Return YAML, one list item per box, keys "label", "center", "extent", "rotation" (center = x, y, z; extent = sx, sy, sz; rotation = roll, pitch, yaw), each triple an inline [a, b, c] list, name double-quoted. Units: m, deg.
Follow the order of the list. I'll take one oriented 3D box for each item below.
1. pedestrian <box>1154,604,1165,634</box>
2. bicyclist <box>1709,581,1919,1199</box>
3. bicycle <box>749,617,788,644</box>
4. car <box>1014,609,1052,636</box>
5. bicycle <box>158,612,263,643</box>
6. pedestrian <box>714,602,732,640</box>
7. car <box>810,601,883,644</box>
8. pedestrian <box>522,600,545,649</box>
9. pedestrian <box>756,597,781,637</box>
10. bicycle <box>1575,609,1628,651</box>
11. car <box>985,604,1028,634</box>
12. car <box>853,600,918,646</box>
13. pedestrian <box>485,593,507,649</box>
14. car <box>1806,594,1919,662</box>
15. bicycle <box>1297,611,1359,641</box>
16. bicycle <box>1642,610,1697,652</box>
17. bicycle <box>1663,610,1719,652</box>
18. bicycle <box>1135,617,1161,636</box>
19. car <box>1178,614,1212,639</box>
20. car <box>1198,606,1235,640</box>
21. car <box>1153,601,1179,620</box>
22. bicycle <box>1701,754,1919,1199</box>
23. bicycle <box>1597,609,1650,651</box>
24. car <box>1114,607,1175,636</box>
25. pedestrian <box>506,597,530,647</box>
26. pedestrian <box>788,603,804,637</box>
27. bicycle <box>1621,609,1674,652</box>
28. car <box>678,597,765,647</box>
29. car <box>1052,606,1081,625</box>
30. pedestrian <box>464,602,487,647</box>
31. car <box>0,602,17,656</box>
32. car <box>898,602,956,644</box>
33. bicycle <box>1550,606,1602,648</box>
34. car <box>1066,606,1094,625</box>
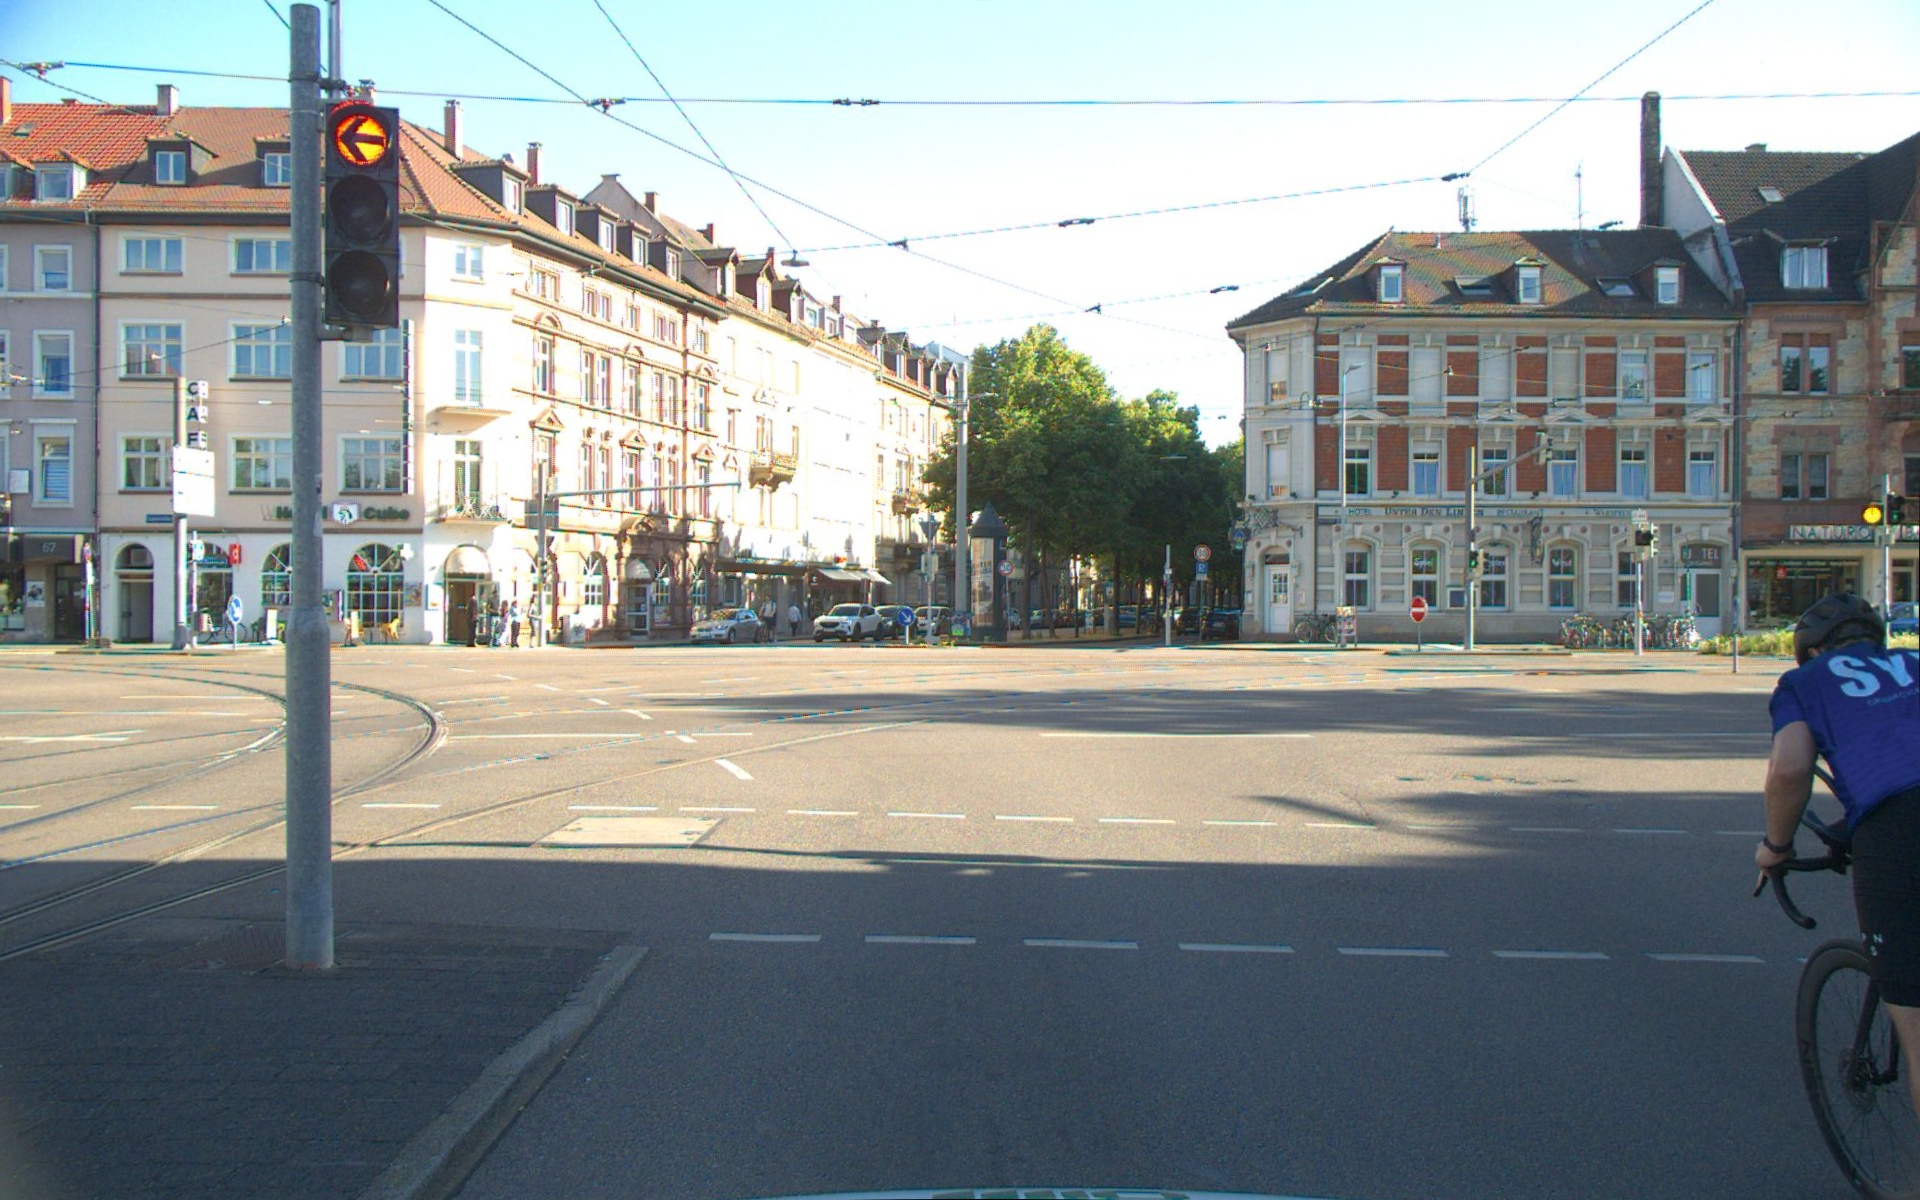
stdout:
- label: "pedestrian"
  center: [12.434, 1.195, 103.282]
  extent: [0.626, 1.827, 0.491]
  rotation: [1, -1, 12]
- label: "bicyclist"
  center: [2.267, 0.728, 3.878]
  extent: [0.625, 1.520, 0.884]
  rotation: [1, 1, 3]
- label: "bicycle"
  center: [-7.534, 1.209, 65.161]
  extent: [0.746, 1.025, 2.398]
  rotation: [1, 0, 13]
- label: "car"
  center: [5.436, 1.675, 122.680]
  extent: [1.951, 1.937, 4.002]
  rotation: [1, 0, 16]
- label: "bicycle"
  center: [-25.521, 0.945, 56.353]
  extent: [3.066, 0.997, 1.001]
  rotation: [1, 0, -1]
- label: "pedestrian"
  center: [-10.478, 0.911, 73.082]
  extent: [0.532, 1.660, 0.707]
  rotation: [1, -1, 13]
- label: "car"
  center: [-4.572, 0.898, 67.091]
  extent: [1.951, 1.646, 4.003]
  rotation: [1, 0, 11]
- label: "pedestrian"
  center: [-14.704, 0.831, 56.991]
  extent: [0.620, 1.662, 0.700]
  rotation: [1, -1, -4]
- label: "pedestrian"
  center: [-7.546, 0.670, 65.090]
  extent: [0.803, 1.539, 0.598]
  rotation: [1, -1, 14]
- label: "bicycle"
  center: [20.591, 0.938, 53.131]
  extent: [0.678, 1.309, 2.661]
  rotation: [1, 0, 0]
- label: "car"
  center: [3.173, 1.292, 112.739]
  extent: [1.951, 1.937, 4.002]
  rotation: [1, 0, 16]
- label: "car"
  center: [-3.292, 1.015, 73.691]
  extent: [1.951, 1.937, 4.003]
  rotation: [1, 0, 11]
- label: "pedestrian"
  center: [-15.932, 0.717, 56.838]
  extent: [0.620, 1.914, 0.465]
  rotation: [1, -1, -5]
- label: "car"
  center: [25.927, 0.790, 46.054]
  extent: [3.706, 1.809, 1.999]
  rotation: [1, 0, -2]
- label: "bicycle"
  center: [12.730, 0.901, 57.262]
  extent: [2.006, 1.015, 0.631]
  rotation: [0, -1, 2]
- label: "bicycle"
  center: [22.794, 0.968, 53.179]
  extent: [0.615, 1.309, 2.661]
  rotation: [1, 0, 0]
- label: "bicycle"
  center: [23.478, 0.988, 53.178]
  extent: [0.615, 1.309, 2.661]
  rotation: [1, 0, 0]
- label: "bicycle"
  center: [11.275, 1.575, 99.226]
  extent: [0.619, 1.104, 1.685]
  rotation: [1, 0, -31]
- label: "car"
  center: [13.659, 1.549, 95.964]
  extent: [1.716, 1.386, 3.859]
  rotation: [1, 0, 11]
- label: "car"
  center: [12.862, 1.139, 82.779]
  extent: [1.655, 1.592, 3.844]
  rotation: [1, 0, 11]
- label: "car"
  center: [16.801, 0.840, 134.919]
  extent: [1.526, 1.540, 3.658]
  rotation: [1, 0, 16]
- label: "bicycle"
  center: [2.283, 0.969, 3.607]
  extent: [0.613, 1.104, 1.703]
  rotation: [1, 0, 2]
- label: "bicycle"
  center: [21.302, 0.942, 53.152]
  extent: [0.615, 1.309, 2.661]
  rotation: [1, 0, 0]
- label: "car"
  center: [12.844, 1.469, 115.155]
  extent: [3.902, 1.937, 2.001]
  rotation: [1, 0, 15]
- label: "pedestrian"
  center: [-14.865, 0.751, 55.673]
  extent: [0.620, 1.662, 0.700]
  rotation: [1, -1, -4]
- label: "pedestrian"
  center: [-8.078, 0.963, 81.403]
  extent: [0.532, 1.660, 0.707]
  rotation: [1, -1, 13]
- label: "bicycle"
  center: [22.079, 0.965, 53.155]
  extent: [0.615, 1.309, 2.661]
  rotation: [1, 0, 0]
- label: "car"
  center: [-9.607, 0.879, 67.001]
  extent: [1.951, 1.937, 4.002]
  rotation: [1, 0, 17]
- label: "car"
  center: [8.493, 1.236, 132.218]
  extent: [1.526, 1.540, 3.658]
  rotation: [1, 0, 16]
- label: "pedestrian"
  center: [-16.340, 0.838, 55.769]
  extent: [0.620, 1.502, 0.465]
  rotation: [1, -1, -5]
- label: "car"
  center: [-32.391, 0.916, 52.431]
  extent: [3.902, 1.699, 2.002]
  rotation: [0, 0, 8]
- label: "car"
  center: [-1.562, 1.070, 79.544]
  extent: [1.951, 1.937, 4.003]
  rotation: [1, 0, 11]
- label: "bicycle"
  center: [19.770, 0.860, 53.141]
  extent: [0.678, 1.309, 2.661]
  rotation: [1, 0, 0]
- label: "car"
  center: [9.880, 1.277, 136.300]
  extent: [1.526, 1.540, 3.658]
  rotation: [1, 0, 16]
